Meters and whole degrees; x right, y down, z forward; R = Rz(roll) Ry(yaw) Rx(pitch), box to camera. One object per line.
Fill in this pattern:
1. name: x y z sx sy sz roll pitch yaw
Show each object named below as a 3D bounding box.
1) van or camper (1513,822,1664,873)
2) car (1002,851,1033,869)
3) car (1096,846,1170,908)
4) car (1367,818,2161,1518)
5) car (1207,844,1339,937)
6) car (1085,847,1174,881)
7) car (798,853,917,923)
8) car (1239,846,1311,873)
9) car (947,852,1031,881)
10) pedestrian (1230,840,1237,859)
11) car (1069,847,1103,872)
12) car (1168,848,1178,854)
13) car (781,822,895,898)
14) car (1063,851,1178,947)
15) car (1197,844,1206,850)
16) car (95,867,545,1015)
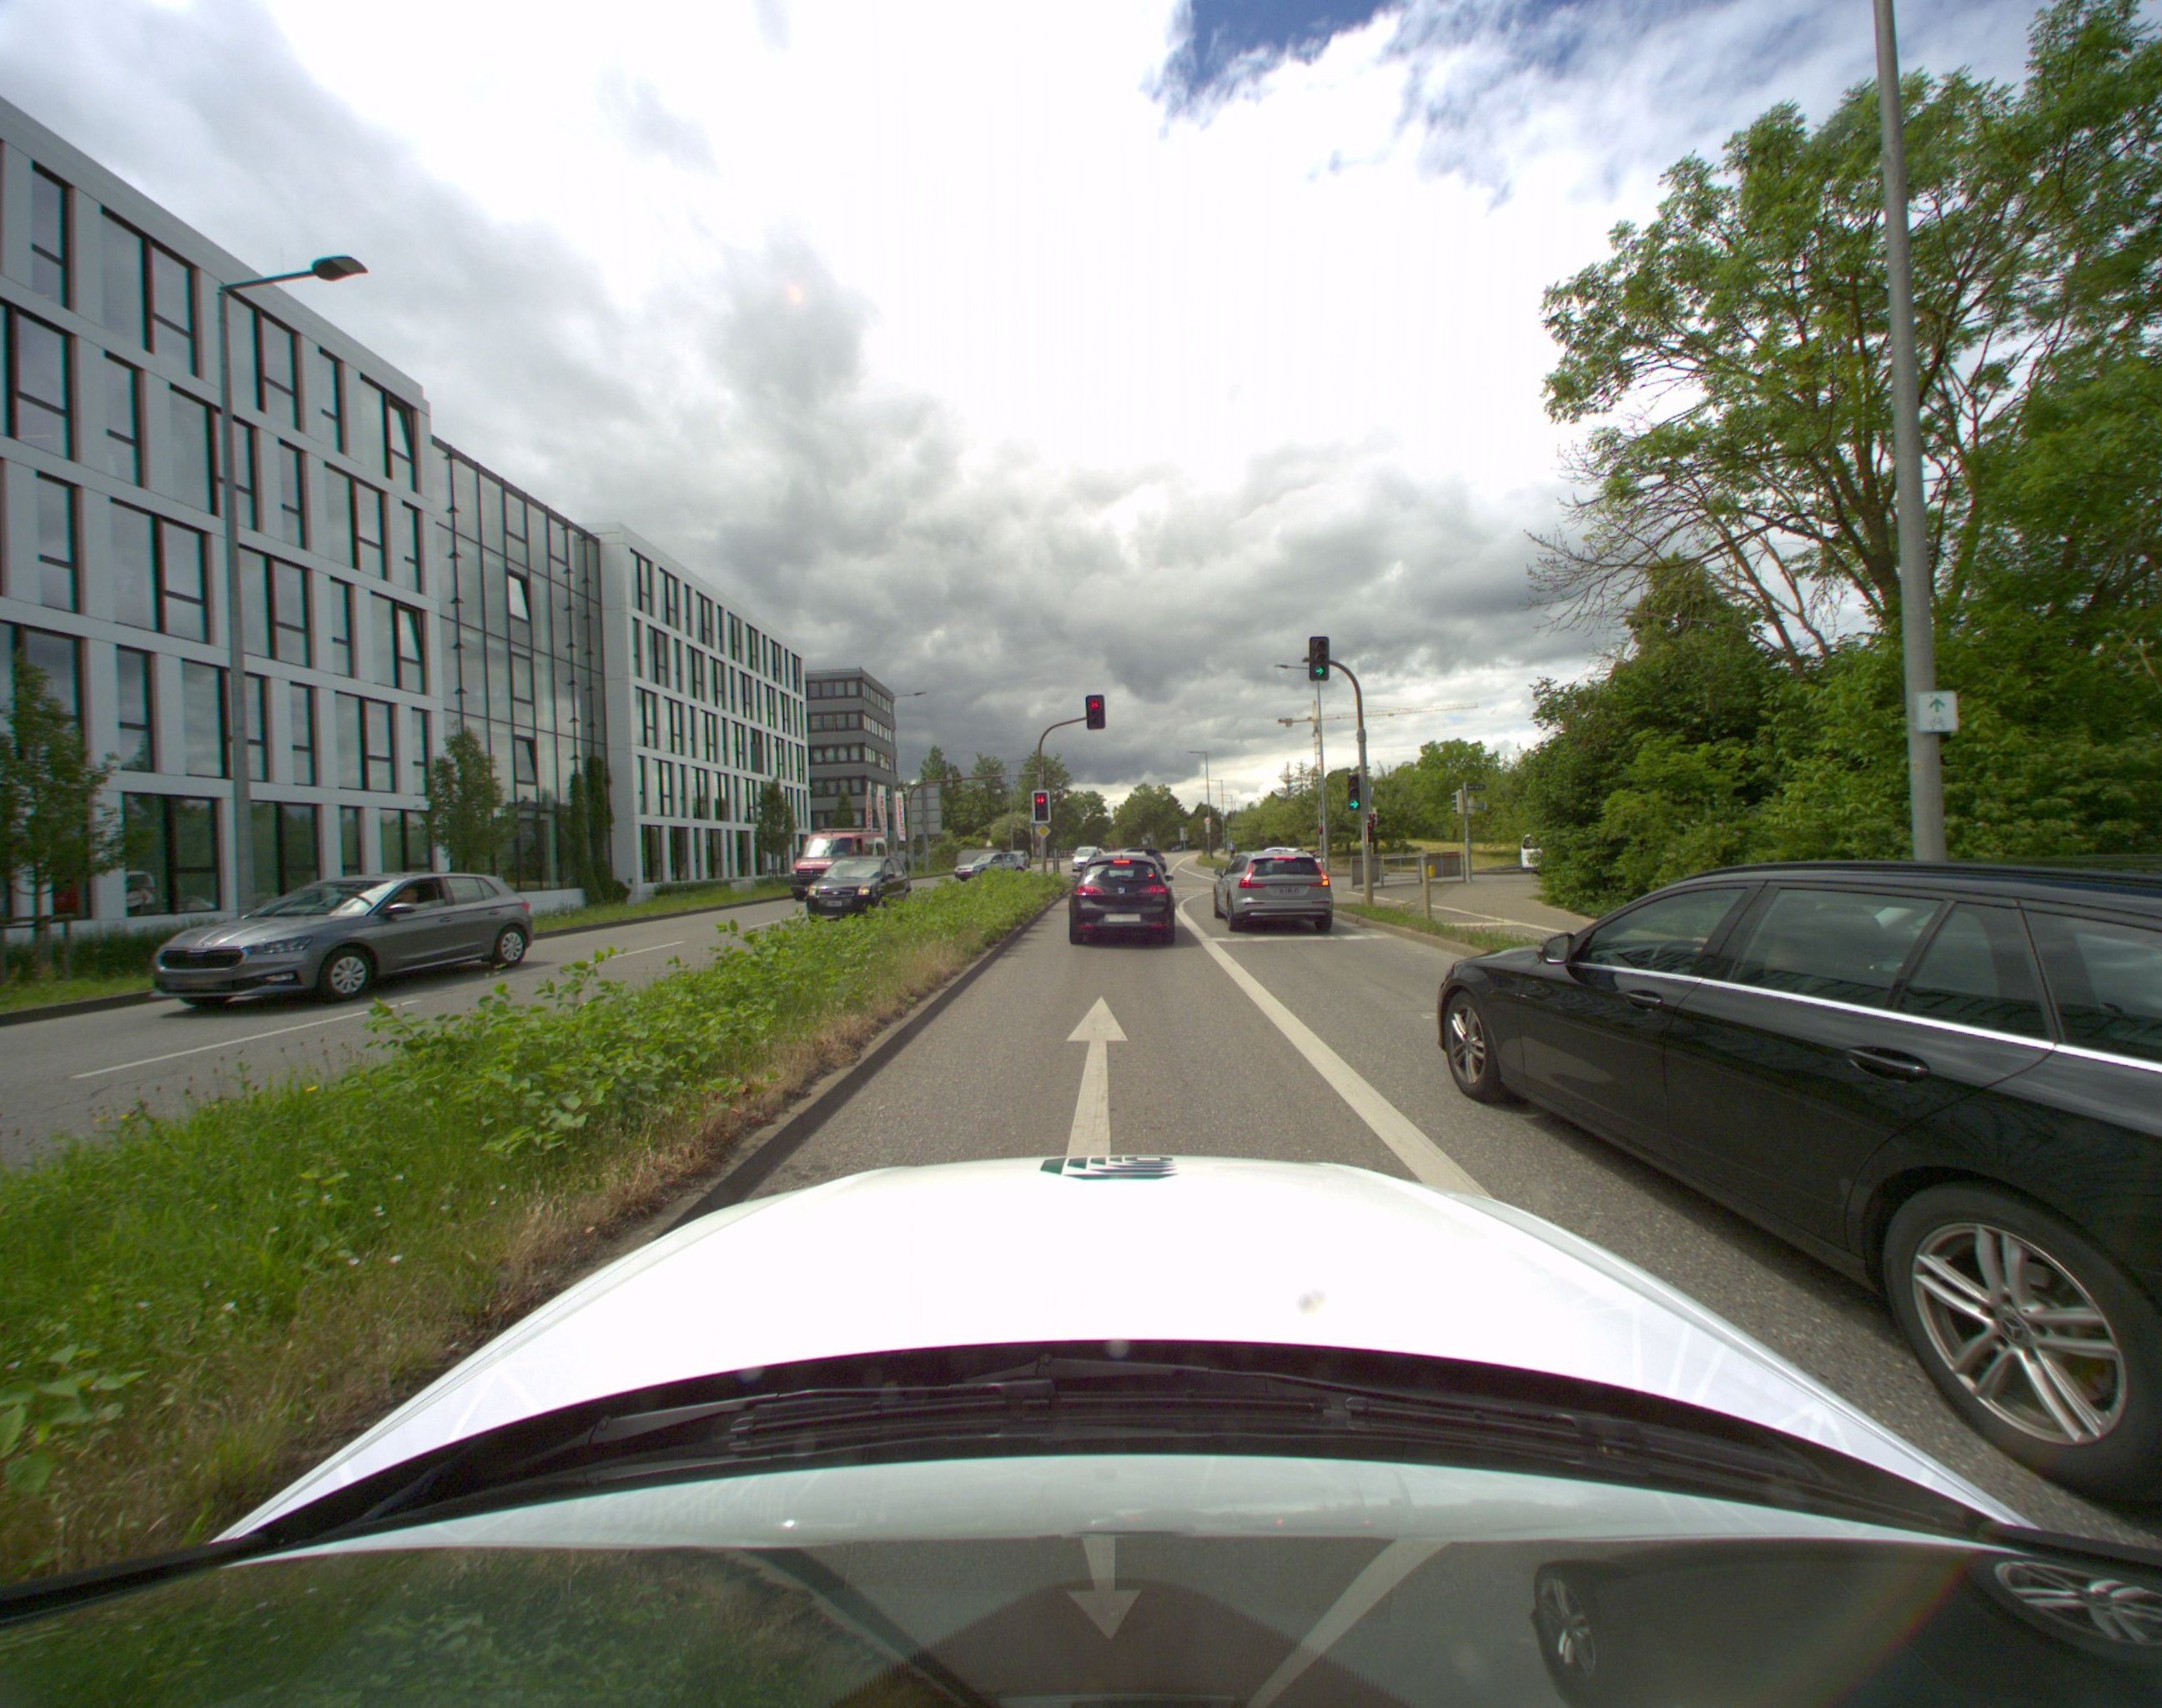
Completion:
1. van or camper: 20.619 -0.254 33.251 4.911 1.860 2.000 -2 0 0
2. car: -5.129 0.443 66.095 1.986 1.352 4.002 -1 0 2
3. car: 1.351 0.569 22.352 1.767 1.491 3.582 -3 0 0
4. car: 3.155 0.624 3.581 1.867 1.440 5.198 -3 0 -1
5. car: 3.654 0.613 16.264 1.854 1.518 4.452 -3 0 4
6. car: 2.430 0.473 40.634 4.006 1.516 1.926 -2 0 -25
7. car: -5.387 0.749 20.155 1.672 1.482 4.002 -2 0 2
8. car: 12.075 0.359 50.619 3.950 1.530 2.012 -1 0 27
9. car: -4.818 0.658 43.016 4.023 1.354 1.975 -2 1 -44
10. pedestrian: 14.054 -0.398 75.266 0.556 1.726 0.588 -1 0 3
11. car: 0.386 0.329 55.753 1.984 1.596 4.006 -2 0 5
12. car: 20.981 -0.758 185.813 1.981 1.352 4.012 -1 0 10
13. car: -8.520 0.188 29.170 1.984 2.412 5.249 -2 0 5
14. car: 0.688 0.686 14.421 1.766 1.451 3.584 -1 0 2
15. car: 28.263 -1.602 190.849 1.981 1.352 4.012 -1 0 10
16. car: -9.263 0.940 10.497 1.925 1.398 4.002 -2 0 2
